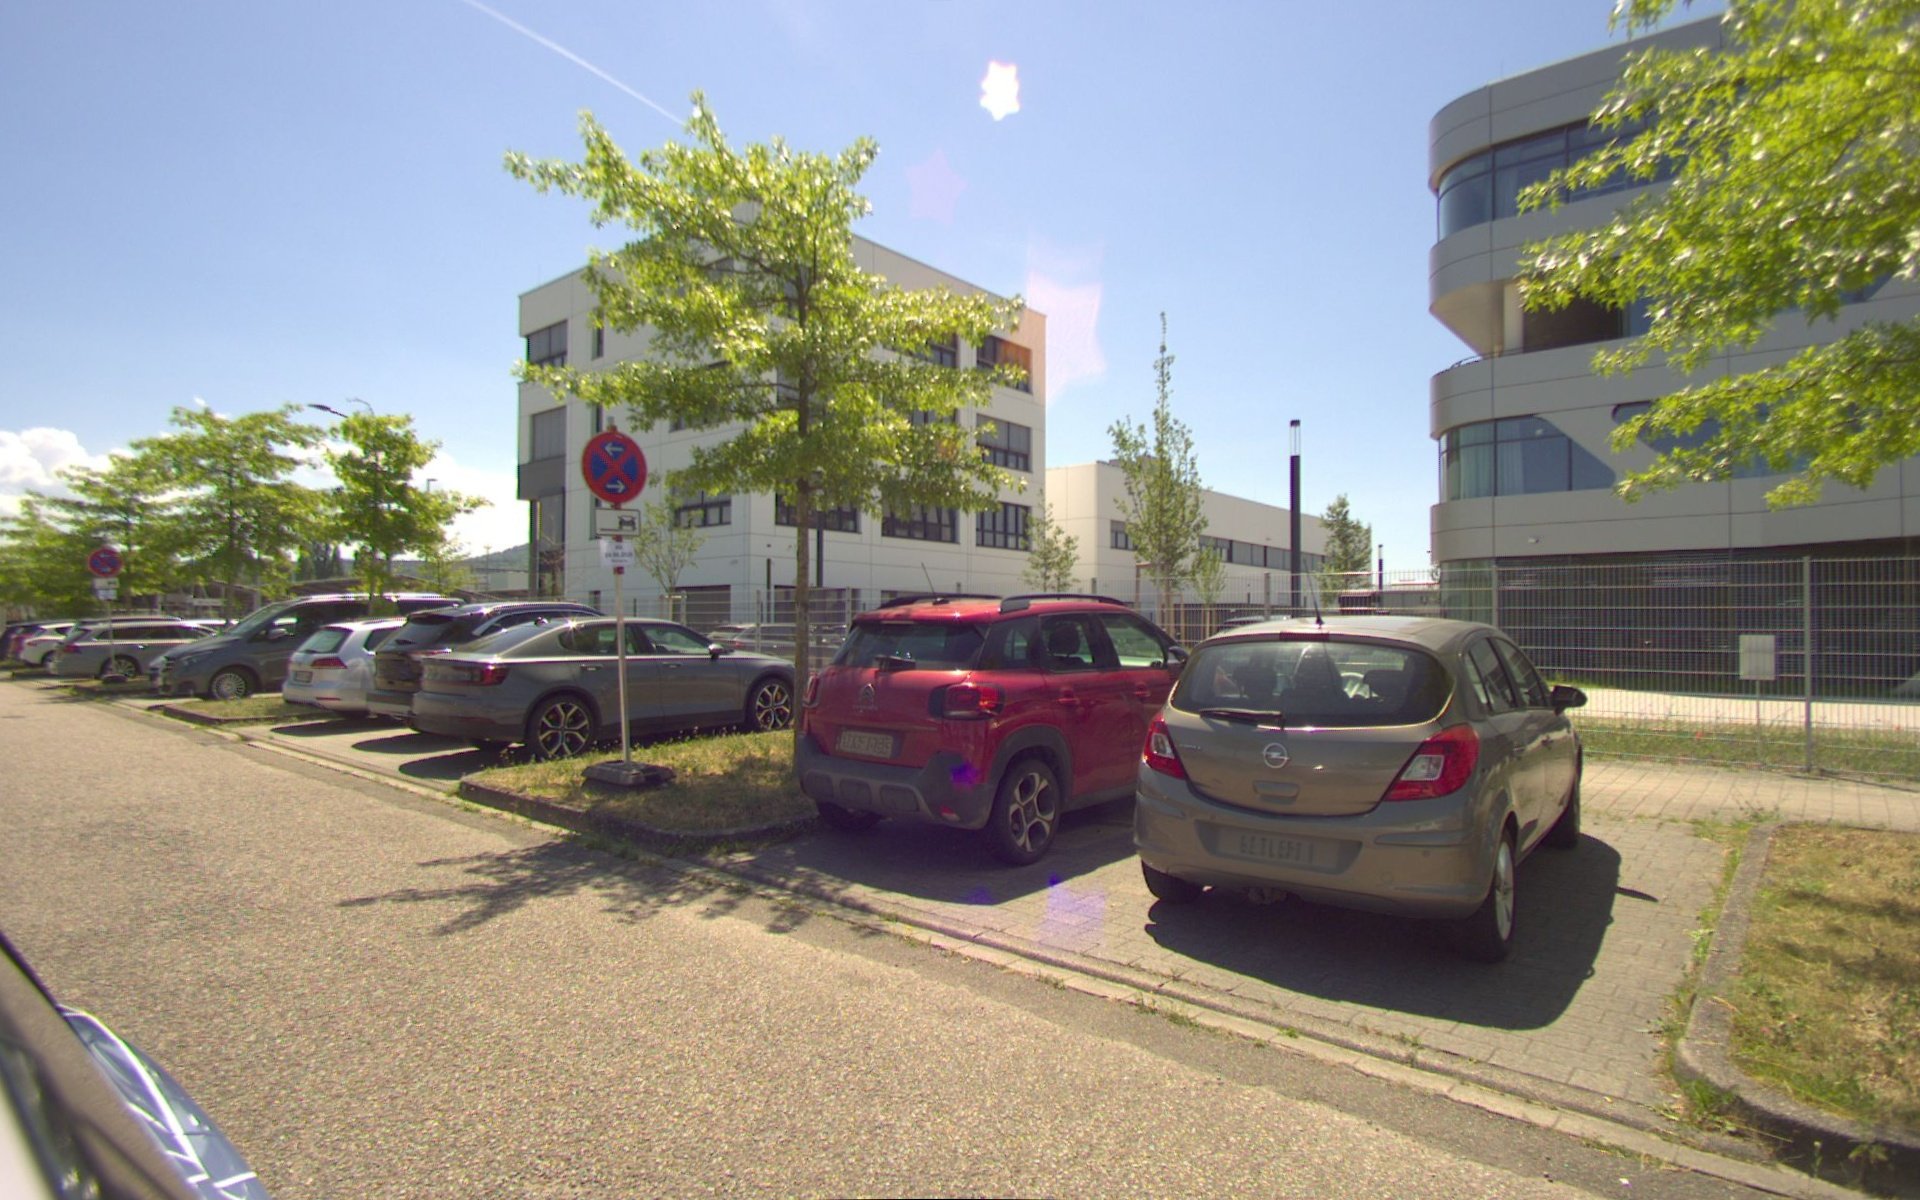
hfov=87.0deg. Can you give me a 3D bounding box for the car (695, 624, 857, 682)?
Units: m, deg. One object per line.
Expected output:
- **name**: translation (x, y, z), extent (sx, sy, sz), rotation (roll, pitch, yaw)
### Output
- **car**: translation (-4.602, 1.350, 25.737), extent (1.675, 1.342, 3.949), rotation (-1, -4, 37)

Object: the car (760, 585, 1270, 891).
- **car**: translation (0.597, 0.743, 7.417), extent (1.816, 1.633, 3.698), rotation (-2, -1, 42)

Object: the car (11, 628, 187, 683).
- **car**: translation (-27.806, 1.756, 32.777), extent (1.807, 1.524, 4.127), rotation (-3, -1, 42)

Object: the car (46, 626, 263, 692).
- **car**: translation (-21.376, 1.512, 26.996), extent (1.725, 1.484, 4.269), rotation (-2, -1, 39)

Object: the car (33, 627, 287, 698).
- **car**: translation (-19.661, 1.479, 25.073), extent (1.856, 1.458, 4.666), rotation (-2, -1, 40)

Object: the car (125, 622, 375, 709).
- **car**: translation (-14.633, 1.276, 21.010), extent (1.763, 1.495, 3.927), rotation (-2, 0, 41)

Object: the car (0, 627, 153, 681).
- **car**: translation (-30.013, 1.781, 34.386), extent (1.725, 1.604, 3.801), rotation (-2, -1, 39)

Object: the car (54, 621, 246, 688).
- **car**: translation (-22.949, 1.488, 28.778), extent (1.727, 1.647, 4.073), rotation (-2, -1, 43)

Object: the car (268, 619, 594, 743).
- **car**: translation (-7.690, 1.077, 15.050), extent (1.602, 1.472, 3.999), rotation (-1, 0, 38)

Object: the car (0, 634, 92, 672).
- **car**: translation (-38.508, 2.187, 42.056), extent (1.726, 1.452, 3.469), rotation (-2, -1, 40)

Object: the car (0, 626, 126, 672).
- **car**: translation (-34.697, 1.861, 38.946), extent (1.728, 1.604, 3.862), rotation (-2, -1, 45)

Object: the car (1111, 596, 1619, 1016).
- **car**: translation (2.495, 0.760, 5.665), extent (1.728, 1.520, 3.622), rotation (-2, -1, 37)

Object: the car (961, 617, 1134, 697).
- **car**: translation (1.761, 1.092, 19.575), extent (1.677, 1.401, 3.443), rotation (-2, -3, 40)

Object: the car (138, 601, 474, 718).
- **car**: translation (-12.201, 1.005, 19.176), extent (1.997, 1.906, 5.015), rotation (-2, -1, 42)

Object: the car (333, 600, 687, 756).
- **car**: translation (-5.801, 0.891, 13.471), extent (1.774, 1.691, 3.951), rotation (-1, 0, 36)

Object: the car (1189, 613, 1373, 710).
- **car**: translation (5.311, 0.996, 16.530), extent (1.677, 1.401, 3.443), rotation (-2, -4, 40)

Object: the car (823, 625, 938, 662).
- **car**: translation (-2.963, 1.572, 37.327), extent (3.998, 1.237, 1.973), rotation (0, -2, 41)

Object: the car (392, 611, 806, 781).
- **car**: translation (-3.931, 0.930, 11.589), extent (1.712, 1.491, 4.149), rotation (-1, 0, 41)
